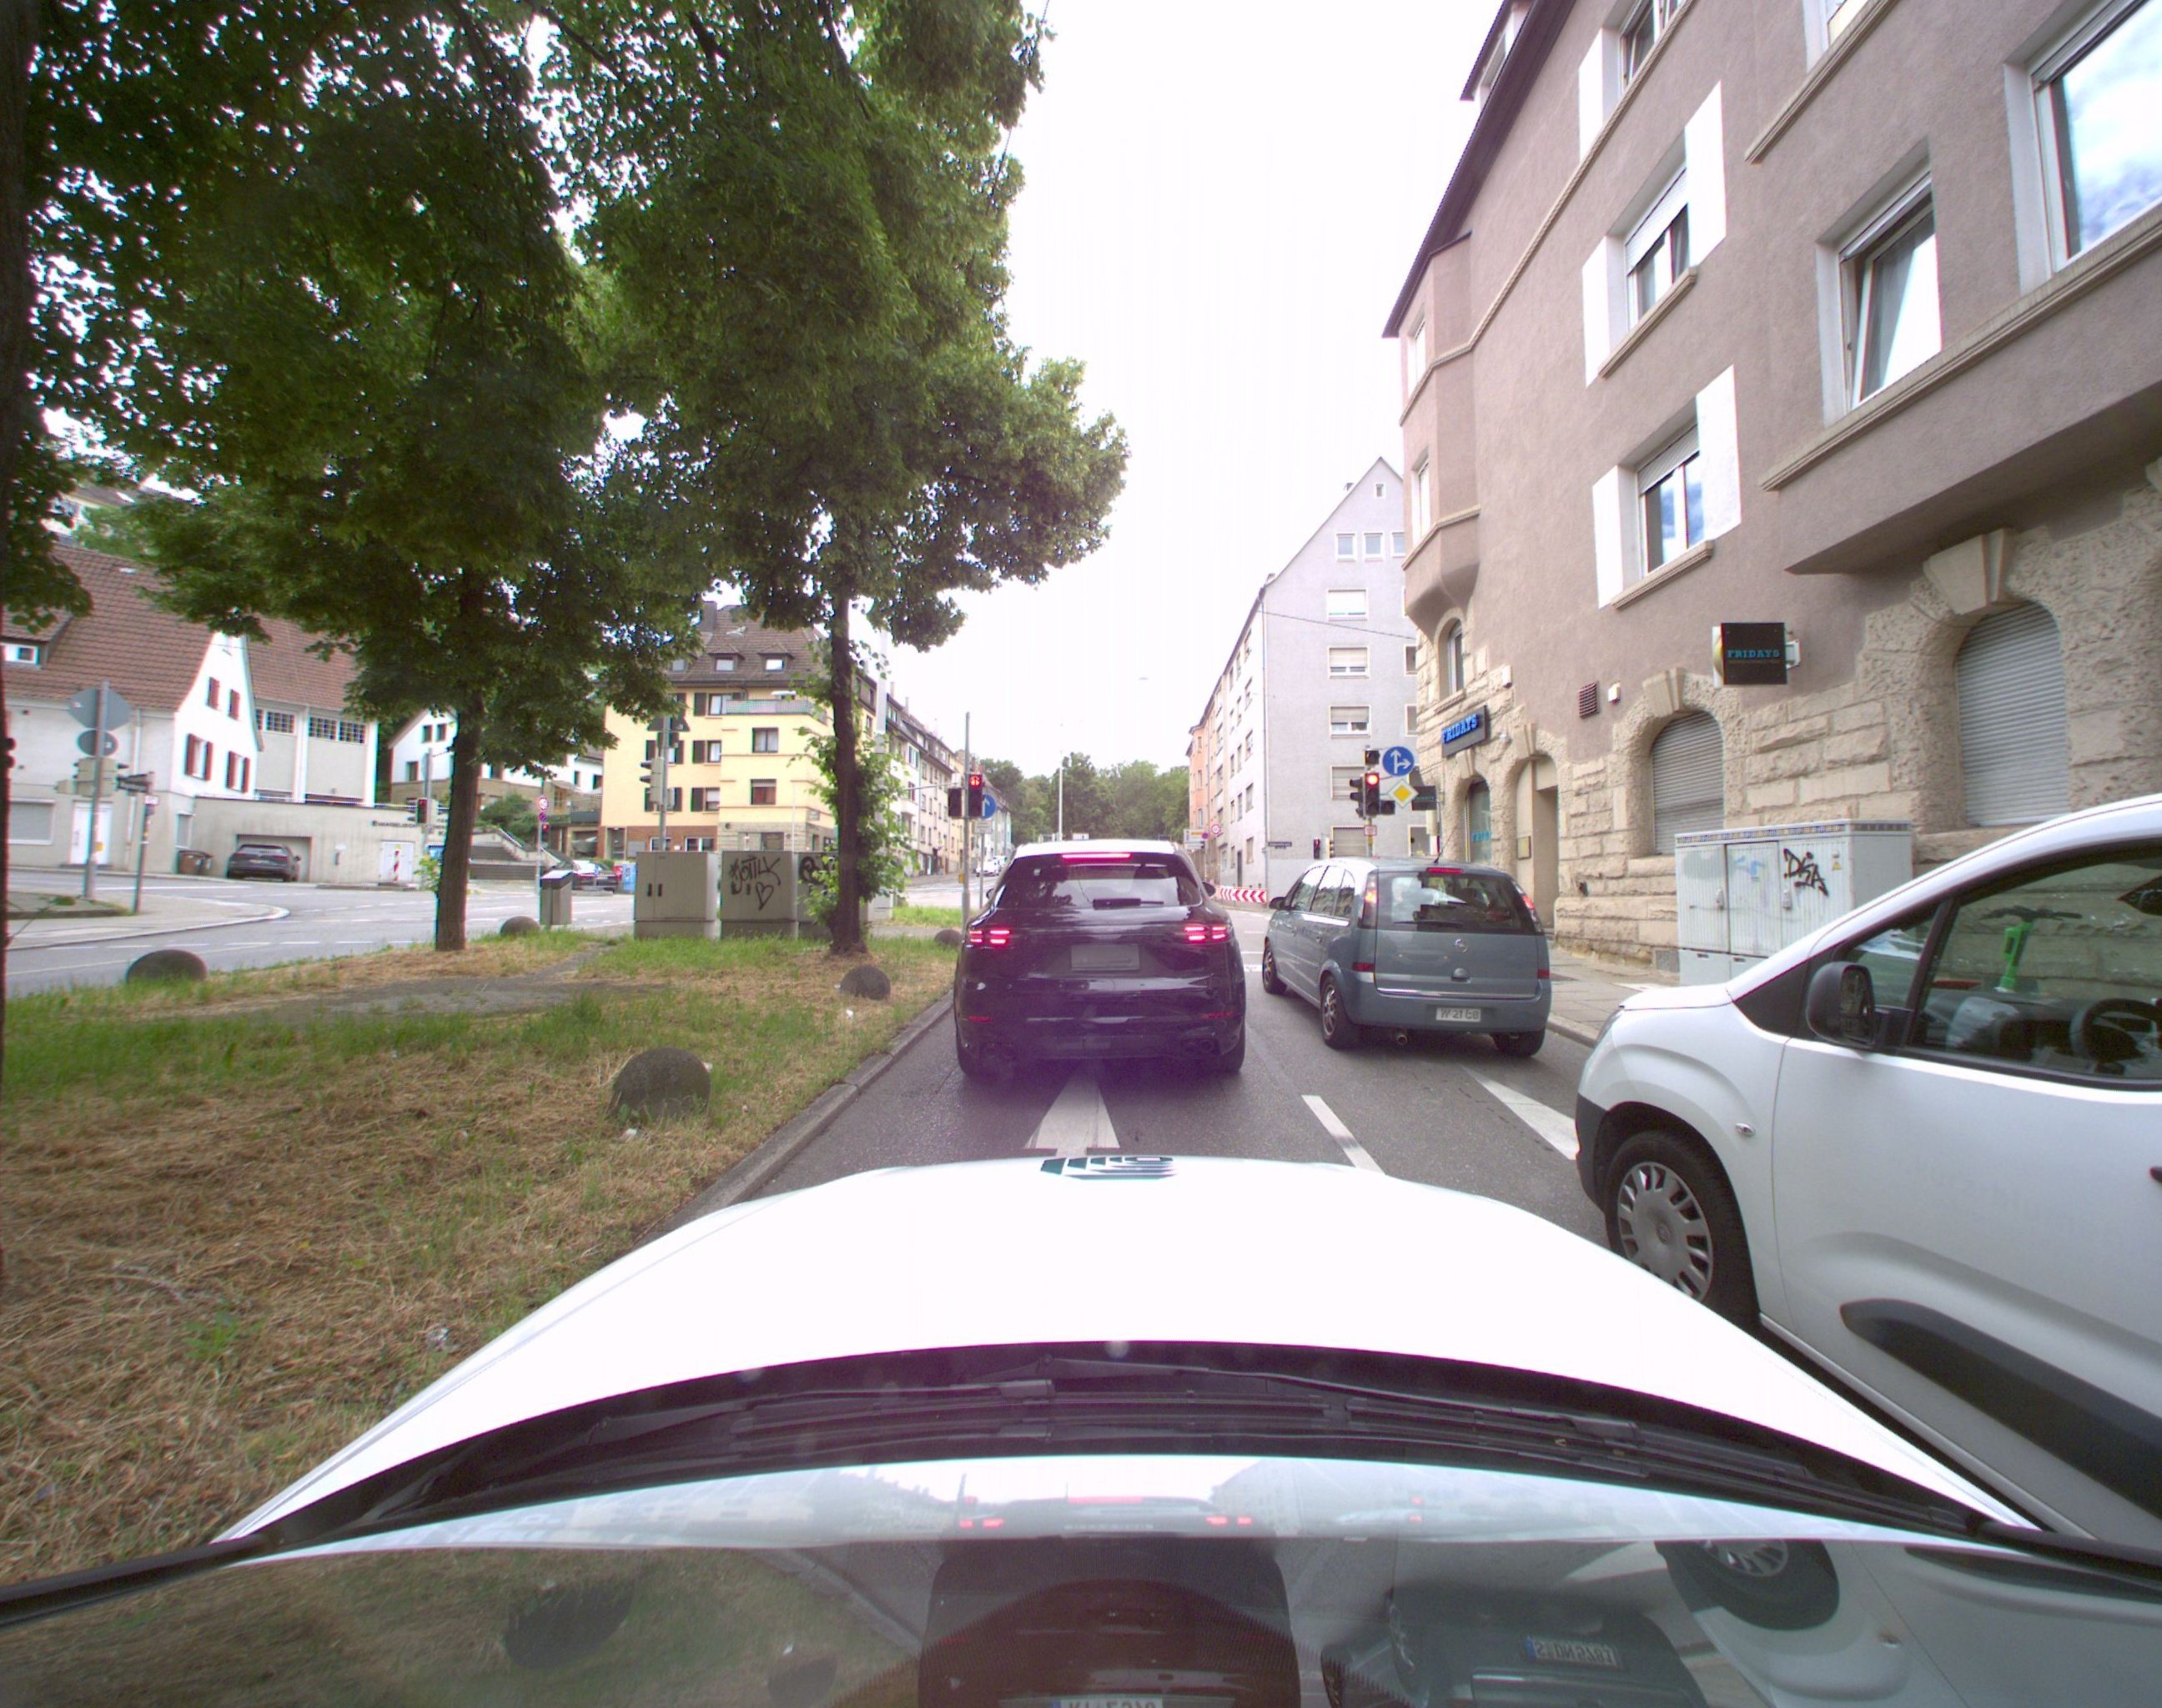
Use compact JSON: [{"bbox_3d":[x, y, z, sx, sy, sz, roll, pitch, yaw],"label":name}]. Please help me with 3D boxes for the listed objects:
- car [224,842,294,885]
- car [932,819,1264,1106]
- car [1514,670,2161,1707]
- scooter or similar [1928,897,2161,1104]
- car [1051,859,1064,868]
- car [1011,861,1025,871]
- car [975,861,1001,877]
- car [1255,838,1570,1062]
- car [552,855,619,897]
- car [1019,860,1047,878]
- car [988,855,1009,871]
[{"bbox_3d":[-32.154,0.358,31.845,3.019,1.405,1.681,2,-4,42],"label":"car"},{"bbox_3d":[0.162,0.662,6.852,1.948,1.674,4.001,-1,-1,2],"label":"car"},{"bbox_3d":[2.818,0.614,1.078,1.969,1.775,4.676,3,0,0],"label":"car"},{"bbox_3d":[6.431,0.867,5.244,0.524,1.104,1.424,-1,-1,4],"label":"scooter or similar"},{"bbox_3d":[-3.876,1.604,133.545,1.611,1.480,3.828,-1,-2,5],"label":"car"},{"bbox_3d":[-9.651,1.839,125.308,1.682,1.538,3.815,0,0,2],"label":"car"},{"bbox_3d":[-9.119,1.488,79.819,1.836,1.486,3.901,0,0,4],"label":"car"},{"bbox_3d":[2.870,0.727,7.926,1.622,1.598,3.670,3,0,2],"label":"car"},{"bbox_3d":[-23.628,1.008,38.803,3.477,1.596,1.881,7,4,44],"label":"car"},{"bbox_3d":[-3.889,1.228,66.094,1.854,1.388,4.096,0,0,2],"label":"car"},{"bbox_3d":[-10.599,1.196,105.132,2.008,2.045,4.669,0,-1,2],"label":"car"}]
